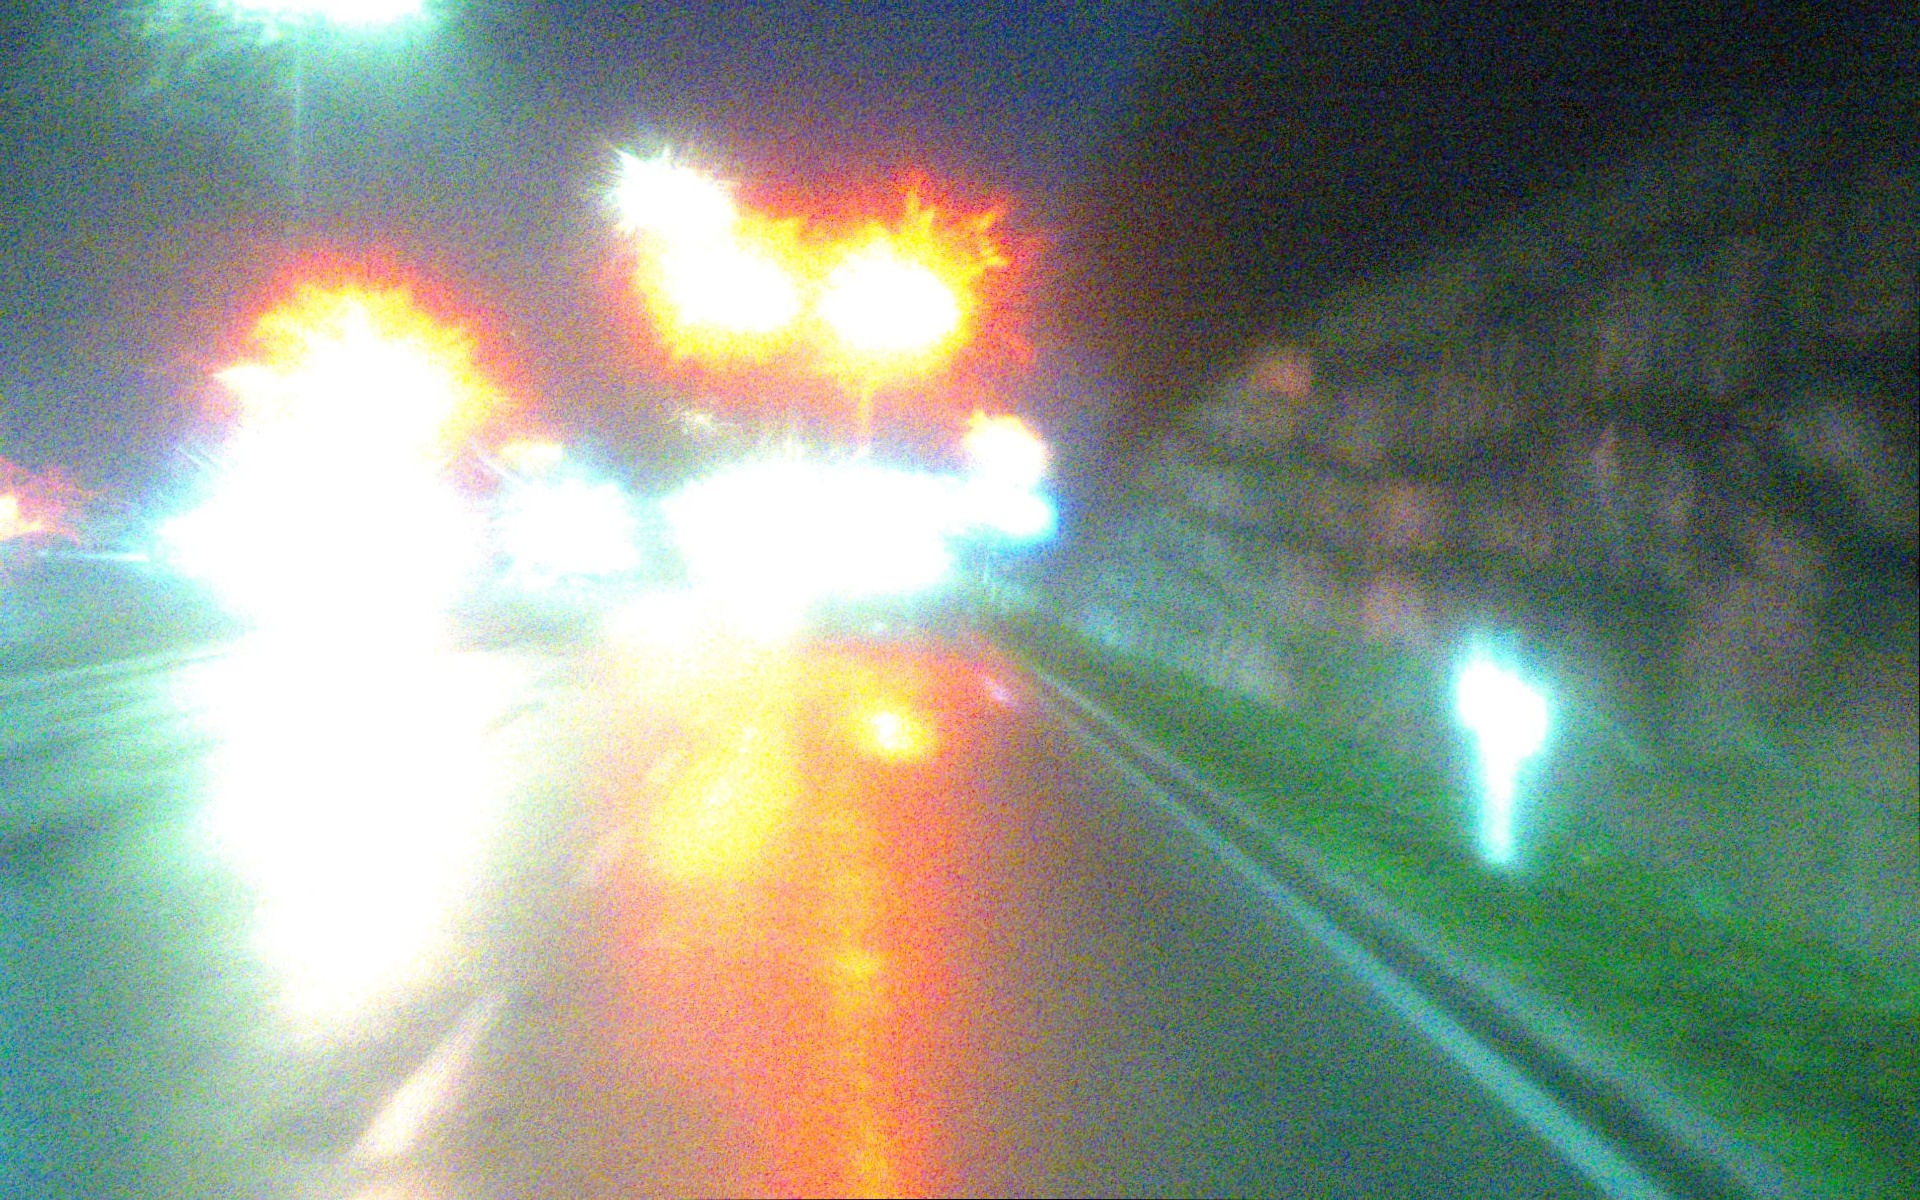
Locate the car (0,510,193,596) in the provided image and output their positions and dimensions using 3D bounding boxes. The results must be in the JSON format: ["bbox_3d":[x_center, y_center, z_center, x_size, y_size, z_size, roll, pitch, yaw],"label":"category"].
[{"bbox_3d":[-17.992,-0.971,70.505,3.987,1.656,2.000,1,1,3],"label":"car"}]
